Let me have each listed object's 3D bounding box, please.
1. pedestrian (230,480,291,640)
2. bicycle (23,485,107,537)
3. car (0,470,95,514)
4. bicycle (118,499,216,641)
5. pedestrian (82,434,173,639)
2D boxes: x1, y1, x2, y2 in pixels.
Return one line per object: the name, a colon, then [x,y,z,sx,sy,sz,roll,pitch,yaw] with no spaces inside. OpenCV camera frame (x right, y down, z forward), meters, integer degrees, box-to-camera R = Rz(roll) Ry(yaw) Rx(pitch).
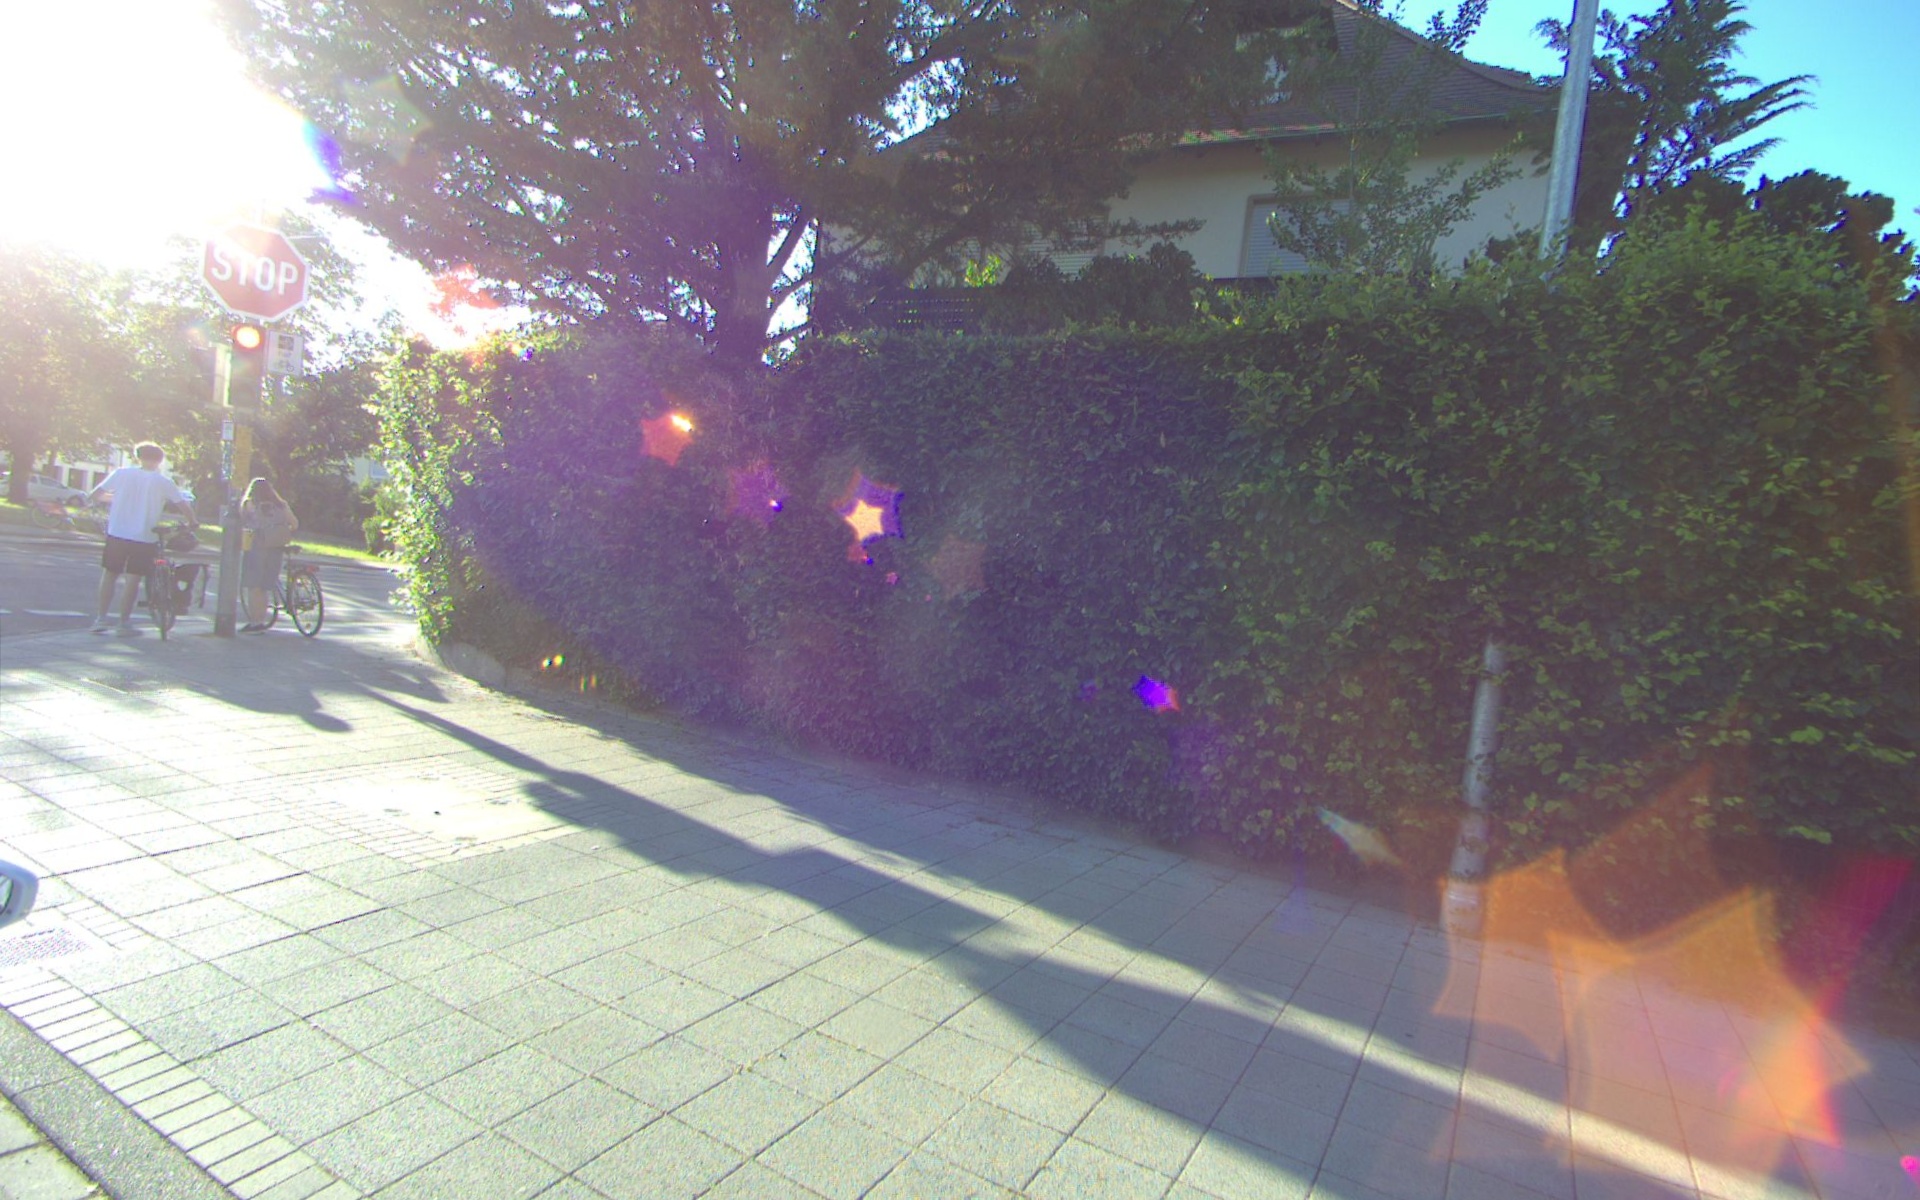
pedestrian: [-7.325,-0.419,10.529,0.347,1.604,0.458,8,-1,-37]
bicycle: [-23.364,-2.321,26.293,0.460,1.103,1.520,12,4,39]
car: [-46.332,-5.427,50.619,1.497,1.542,3.933,6,-2,25]
bicycle: [-7.698,-0.324,9.822,0.569,1.198,1.886,8,-1,-37]
pedestrian: [-8.124,-0.608,9.832,0.624,1.893,0.765,2,5,-40]
